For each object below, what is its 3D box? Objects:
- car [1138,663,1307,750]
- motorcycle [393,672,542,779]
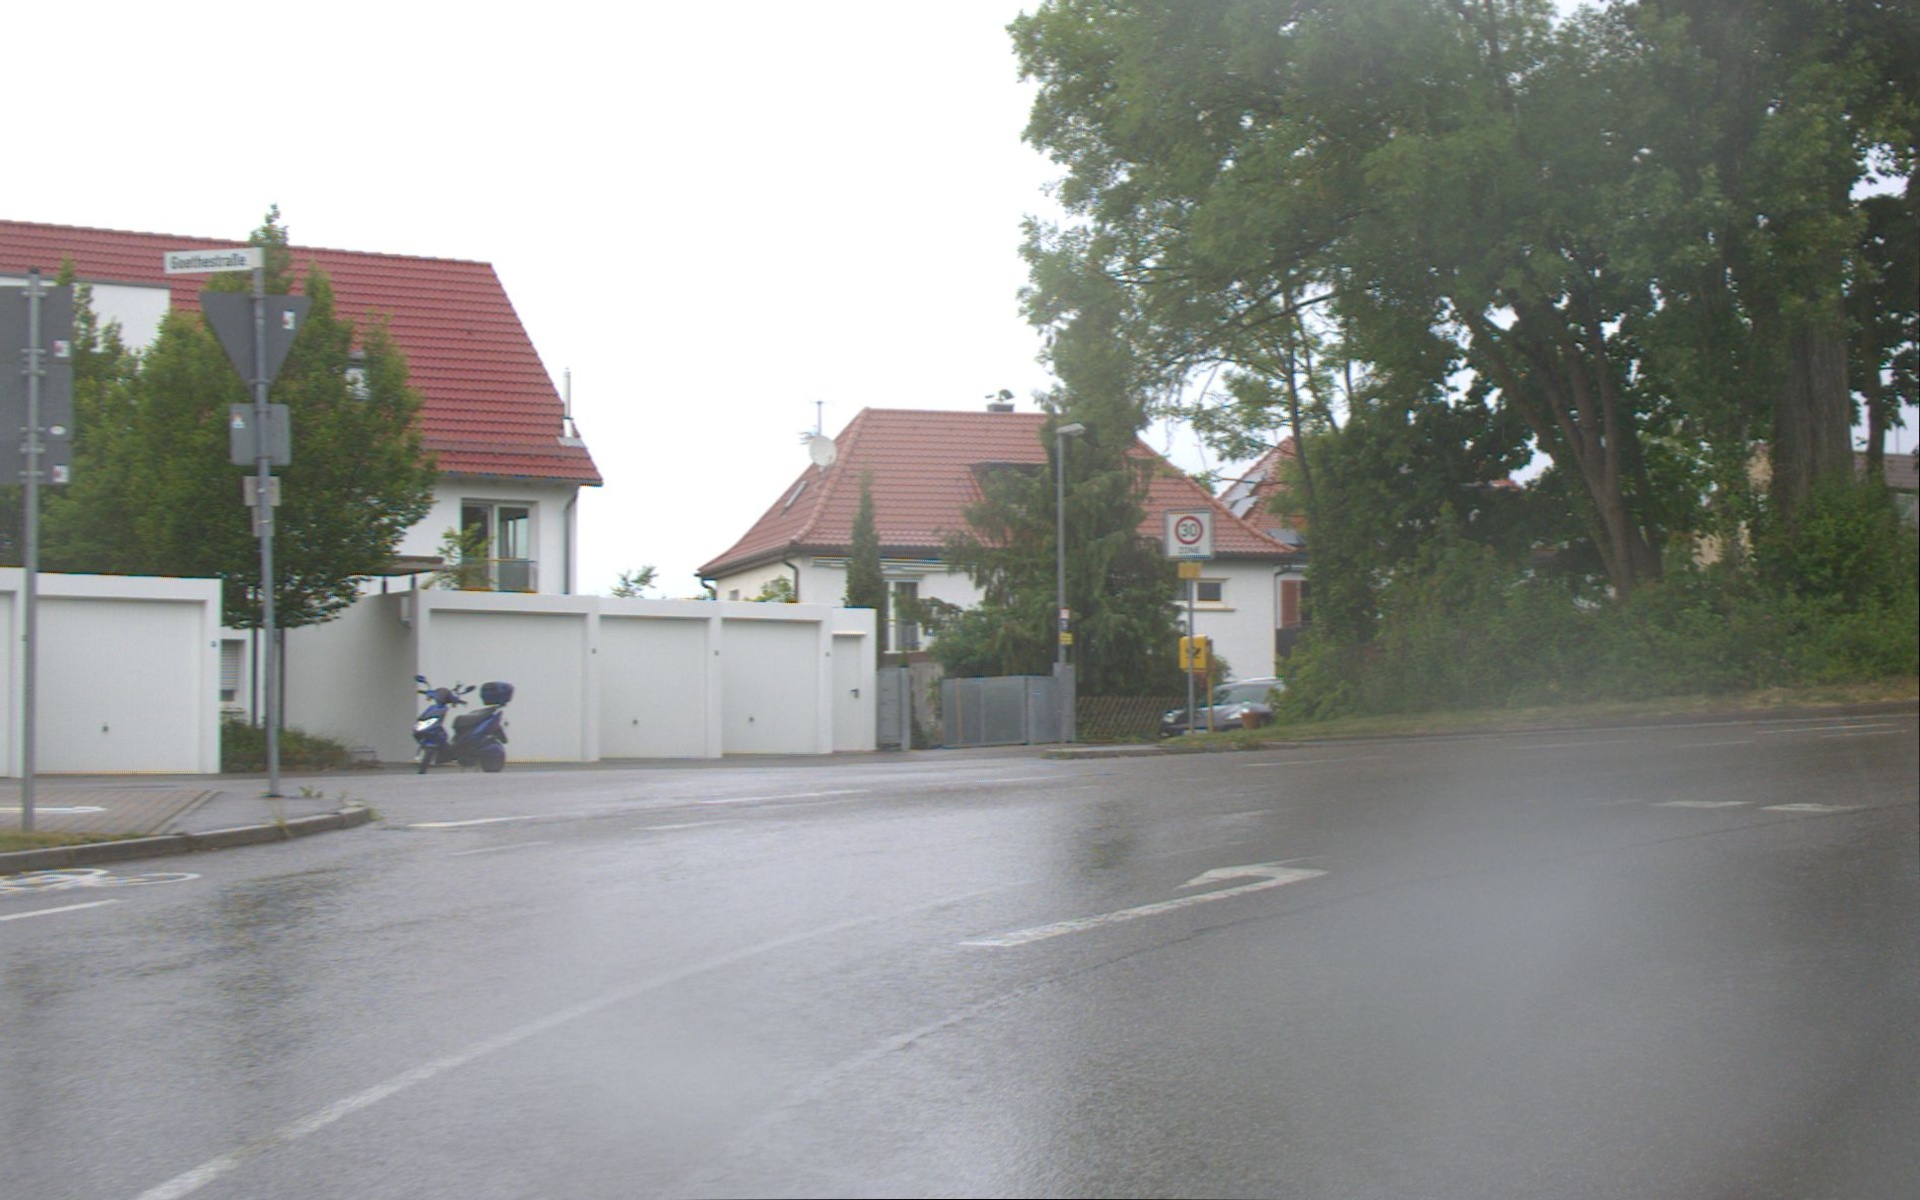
[{"bbox_3d":[5.022,1.999,65.261,1.996,1.503,3.995,-2,-1,23],"label":"car"},{"bbox_3d":[-6.459,1.643,45.191,0.708,1.317,2.042,-2,-1,34],"label":"motorcycle"}]
